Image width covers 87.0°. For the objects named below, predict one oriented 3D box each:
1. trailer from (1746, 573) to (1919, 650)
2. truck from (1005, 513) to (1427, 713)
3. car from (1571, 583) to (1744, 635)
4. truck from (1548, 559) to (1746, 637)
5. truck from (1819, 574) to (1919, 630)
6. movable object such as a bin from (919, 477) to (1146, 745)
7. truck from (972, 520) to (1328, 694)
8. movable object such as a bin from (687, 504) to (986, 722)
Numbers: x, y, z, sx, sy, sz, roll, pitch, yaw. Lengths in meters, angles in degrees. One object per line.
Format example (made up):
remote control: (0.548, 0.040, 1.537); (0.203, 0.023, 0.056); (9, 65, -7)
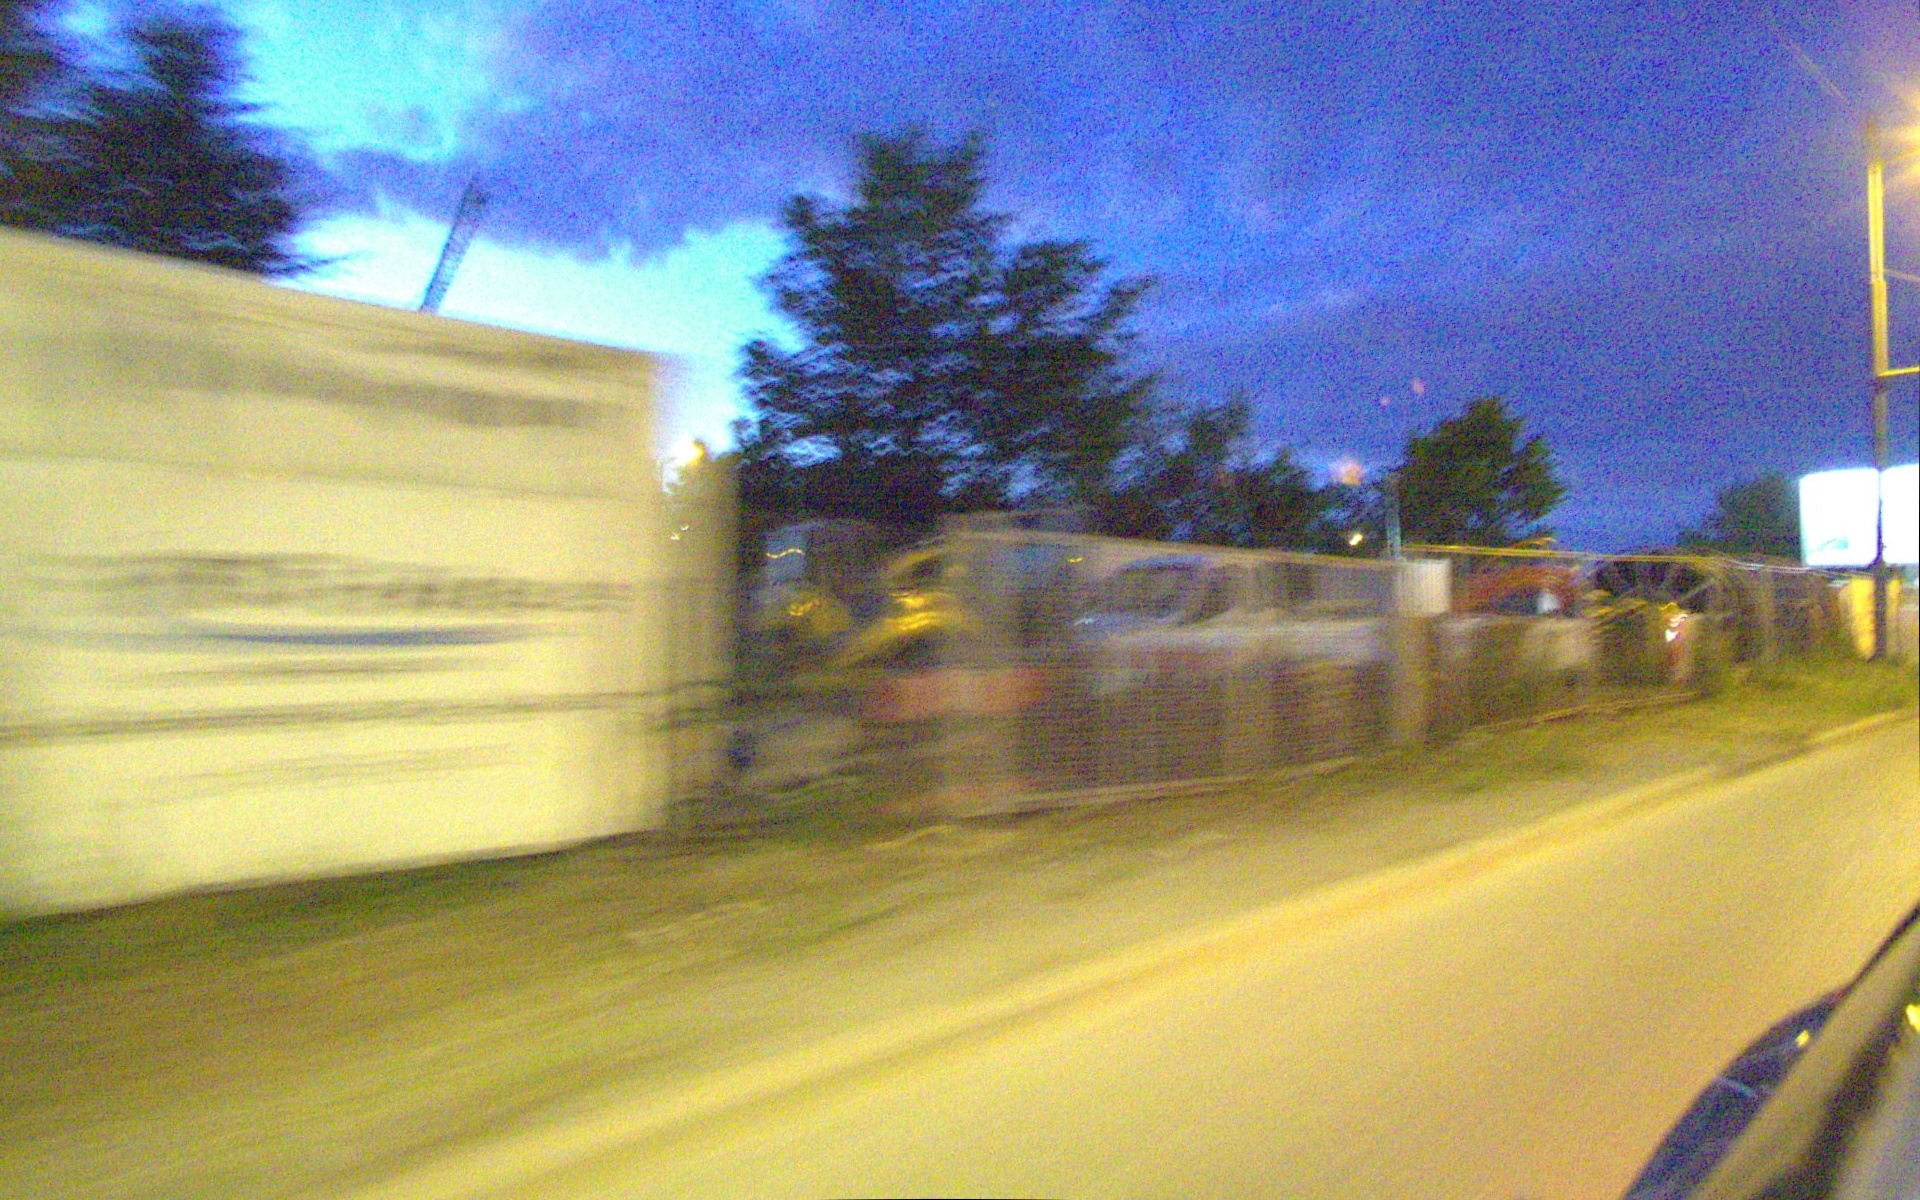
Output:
trailer: (24.990, 0.279, 28.833); (1.583, 2.039, 3.761); (1, 0, -33)
truck: (4.161, 0.189, 15.414); (7.179, 2.454, 2.189); (0, -1, -37)
car: (26.655, 0.325, 38.852); (1.951, 1.860, 5.089); (0, 0, -35)
truck: (24.991, -0.054, 37.019); (2.428, 2.633, 5.542); (0, -1, -39)
truck: (40.462, 0.095, 44.830); (7.606, 2.313, 2.382); (0, -1, -40)
movable object such as a bin: (0.741, 0.116, 10.285); (1.677, 2.414, 1.593); (-2, -2, 41)
truck: (3.793, 0.132, 19.149); (7.176, 2.783, 2.190); (0, -1, -35)
movable object such as a bin: (-1.770, 0.192, 14.903); (3.797, 2.760, 2.231); (1, -2, -40)
